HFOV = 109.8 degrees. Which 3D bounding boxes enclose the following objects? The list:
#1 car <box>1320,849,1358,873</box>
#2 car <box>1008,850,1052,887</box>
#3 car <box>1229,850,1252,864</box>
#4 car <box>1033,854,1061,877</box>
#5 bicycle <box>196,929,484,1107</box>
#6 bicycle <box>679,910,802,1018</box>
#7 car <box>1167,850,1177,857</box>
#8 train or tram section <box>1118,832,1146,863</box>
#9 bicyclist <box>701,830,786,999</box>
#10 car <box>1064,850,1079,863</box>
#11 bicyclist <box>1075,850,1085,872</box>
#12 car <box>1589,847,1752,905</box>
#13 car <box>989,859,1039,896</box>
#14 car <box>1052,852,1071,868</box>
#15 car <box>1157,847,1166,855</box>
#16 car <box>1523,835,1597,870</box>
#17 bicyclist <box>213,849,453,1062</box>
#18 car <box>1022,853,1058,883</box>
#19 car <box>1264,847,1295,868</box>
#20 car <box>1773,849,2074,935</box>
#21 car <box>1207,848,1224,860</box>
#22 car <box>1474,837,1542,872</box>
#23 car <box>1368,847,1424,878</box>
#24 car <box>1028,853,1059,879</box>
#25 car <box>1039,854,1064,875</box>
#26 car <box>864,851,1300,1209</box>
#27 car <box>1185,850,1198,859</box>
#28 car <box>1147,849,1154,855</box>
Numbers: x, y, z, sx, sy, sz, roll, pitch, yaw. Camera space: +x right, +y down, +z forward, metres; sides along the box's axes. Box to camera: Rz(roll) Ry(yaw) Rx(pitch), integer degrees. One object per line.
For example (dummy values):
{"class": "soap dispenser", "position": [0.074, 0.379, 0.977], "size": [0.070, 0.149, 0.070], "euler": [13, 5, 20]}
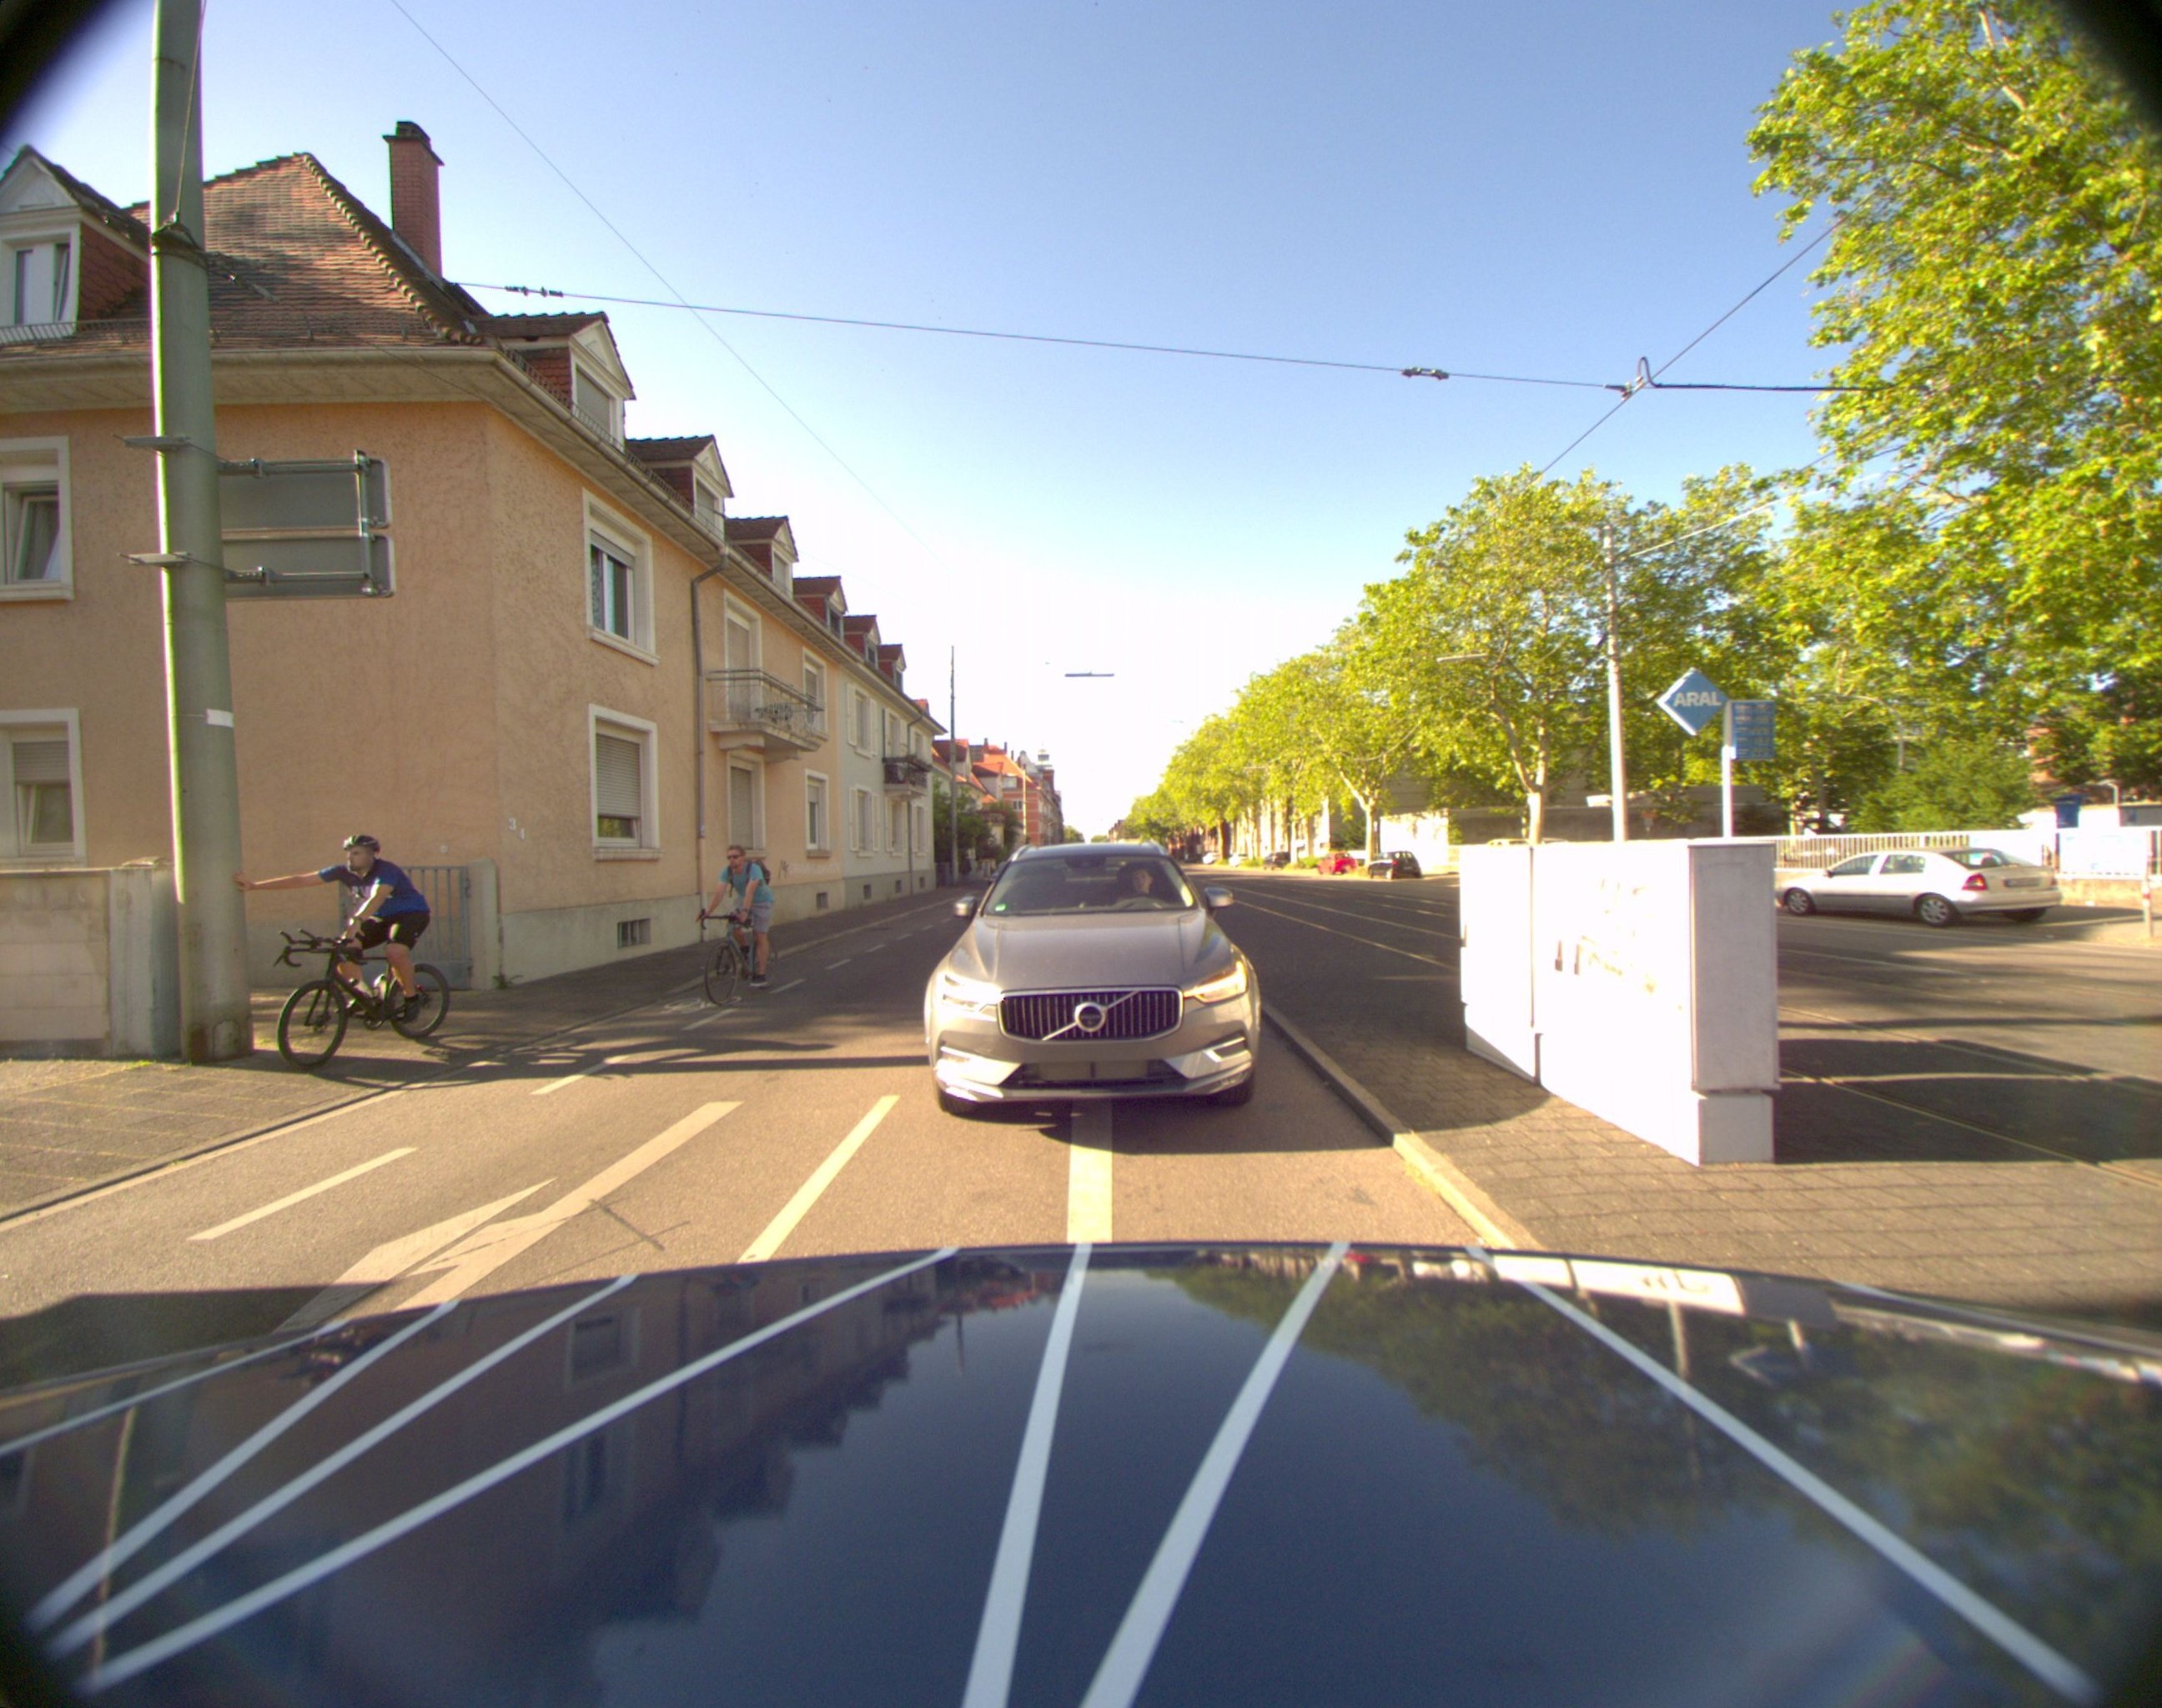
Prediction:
{"class": "car", "position": [16.886, 0.438, 49.870], "size": [1.599, 1.498, 2.622], "euler": [-3, 0, 1]}
{"class": "car", "position": [-2.816, 0.746, 42.825], "size": [1.793, 1.828, 5.149], "euler": [-3, 0, 2]}
{"class": "car", "position": [17.475, 0.297, 83.547], "size": [1.695, 1.440, 3.749], "euler": [-3, 0, 1]}
{"class": "car", "position": [-2.710, 0.891, 61.035], "size": [1.793, 1.673, 3.814], "euler": [-3, 0, 2]}
{"class": "bicycle", "position": [-6.003, 1.262, 6.323], "size": [0.592, 1.062, 1.775], "euler": [4, 0, 1]}
{"class": "bicycle", "position": [-4.036, 1.264, 9.164], "size": [0.519, 1.084, 1.797], "euler": [-1, -2, 6]}
{"class": "car", "position": [19.288, -0.187, 161.880], "size": [1.695, 1.440, 3.749], "euler": [-3, 0, 1]}
{"class": "train or tram section", "position": [6.325, -0.784, 95.503], "size": [2.717, 3.643, 12.653], "euler": [-1, 0, 0]}
{"class": "bicyclist", "position": [-4.048, 0.713, 9.164], "size": [0.519, 1.922, 0.946], "euler": [-1, -2, 6]}
{"class": "car", "position": [-1.279, 0.371, 107.108], "size": [1.793, 1.673, 3.814], "euler": [-3, 0, 2]}
{"class": "bicyclist", "position": [-0.066, 0.486, 56.872], "size": [0.685, 1.611, 0.855], "euler": [-2, 1, 1]}
{"class": "car", "position": [16.417, 0.562, 21.420], "size": [1.695, 1.395, 3.749], "euler": [-3, 0, 1]}
{"class": "car", "position": [-3.215, 1.088, 37.052], "size": [1.695, 1.571, 3.815], "euler": [-3, 0, 5]}
{"class": "car", "position": [-2.139, 0.641, 85.375], "size": [1.793, 1.673, 3.814], "euler": [-3, 0, 2]}
{"class": "car", "position": [20.262, -0.720, 191.417], "size": [1.695, 1.775, 3.749], "euler": [-3, 0, 1]}
{"class": "car", "position": [23.887, -0.079, 38.028], "size": [1.599, 1.583, 3.304], "euler": [-2, 0, 1]}
{"class": "bicyclist", "position": [-6.209, 0.791, 6.375], "size": [1.051, 1.599, 0.885], "euler": [4, 0, 1]}
{"class": "car", "position": [-2.576, 0.858, 48.490], "size": [1.793, 1.673, 3.814], "euler": [-3, 0, 2]}
{"class": "car", "position": [17.148, 0.277, 65.893], "size": [1.695, 1.648, 3.749], "euler": [-3, 0, 1]}
{"class": "car", "position": [16.231, 0.642, 14.985], "size": [1.695, 1.395, 3.813], "euler": [-3, 0, 1]}
{"class": "car", "position": [17.806, 0.031, 100.718], "size": [1.695, 1.440, 3.749], "euler": [-3, 0, 1]}
{"class": "car", "position": [21.554, 0.017, 38.476], "size": [1.599, 1.606, 3.304], "euler": [-2, 0, 1]}
{"class": "car", "position": [16.893, 0.430, 40.899], "size": [1.599, 1.498, 3.304], "euler": [-3, 0, 1]}
{"class": "car", "position": [-2.623, 0.840, 54.010], "size": [1.793, 1.673, 3.814], "euler": [-3, 0, 2]}
{"class": "car", "position": [-2.541, 0.865, 67.080], "size": [1.793, 1.673, 3.814], "euler": [-3, 0, 2]}
{"class": "car", "position": [0.035, 0.830, 5.758], "size": [1.998, 1.628, 4.306], "euler": [-2, 0, 1]}
{"class": "car", "position": [18.215, 0.077, 125.526], "size": [1.695, 1.440, 3.749], "euler": [-3, 0, 1]}
{"class": "car", "position": [19.681, -0.614, 214.811], "size": [1.695, 1.775, 3.749], "euler": [-3, 0, 1]}
